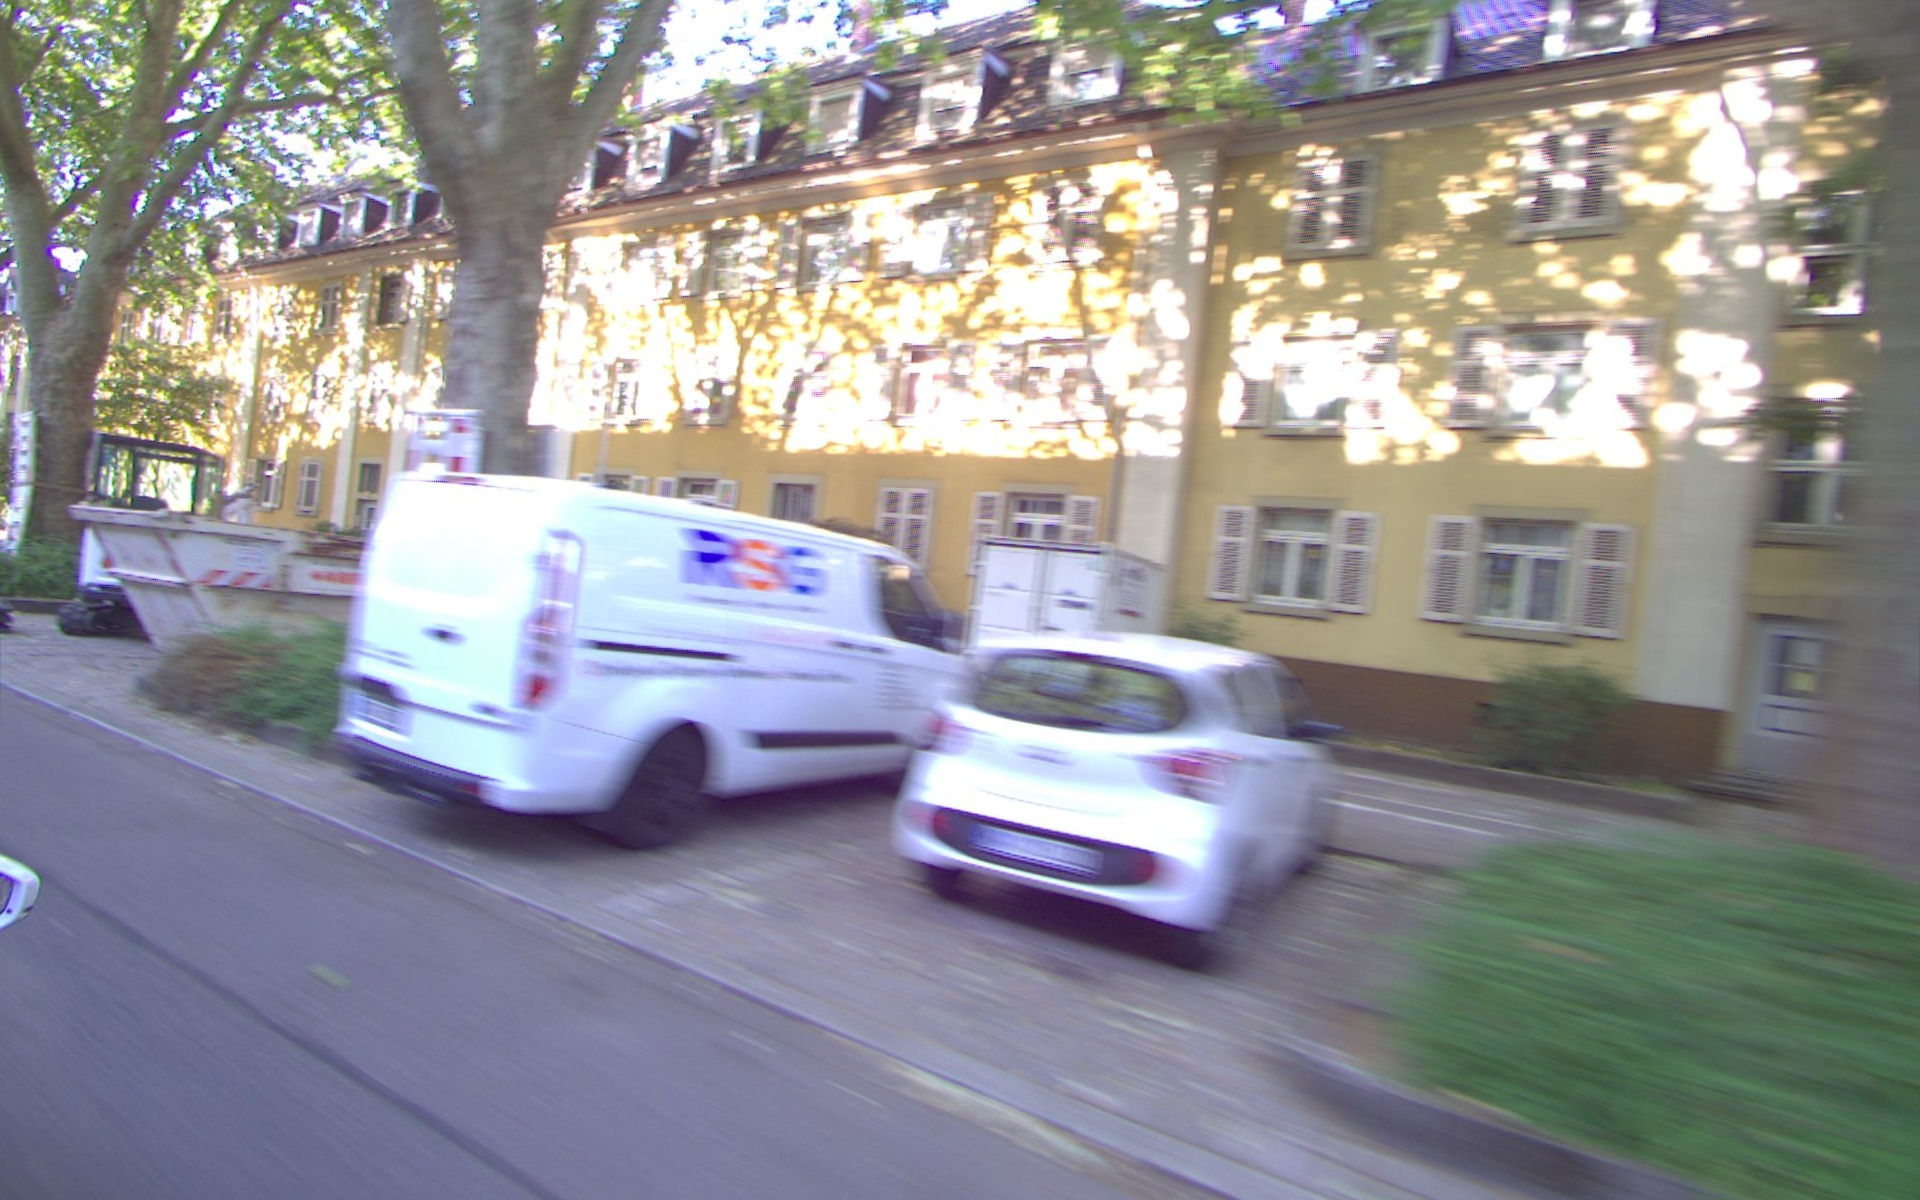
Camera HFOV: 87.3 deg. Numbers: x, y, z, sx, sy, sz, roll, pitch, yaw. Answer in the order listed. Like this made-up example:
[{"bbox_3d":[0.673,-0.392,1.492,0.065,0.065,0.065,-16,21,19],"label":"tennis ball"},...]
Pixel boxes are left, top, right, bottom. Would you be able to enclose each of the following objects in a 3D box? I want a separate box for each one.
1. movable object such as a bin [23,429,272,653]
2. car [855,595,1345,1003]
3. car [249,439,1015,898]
[{"bbox_3d":[-10.001,-0.671,12.652,1.468,2.296,3.257,7,-1,-25],"label":"movable object such as a bin"},{"bbox_3d":[1.090,0.958,6.052,1.669,1.558,3.310,7,-1,30],"label":"car"},{"bbox_3d":[-1.739,0.401,7.108,2.029,2.038,4.841,7,0,31],"label":"car"}]
